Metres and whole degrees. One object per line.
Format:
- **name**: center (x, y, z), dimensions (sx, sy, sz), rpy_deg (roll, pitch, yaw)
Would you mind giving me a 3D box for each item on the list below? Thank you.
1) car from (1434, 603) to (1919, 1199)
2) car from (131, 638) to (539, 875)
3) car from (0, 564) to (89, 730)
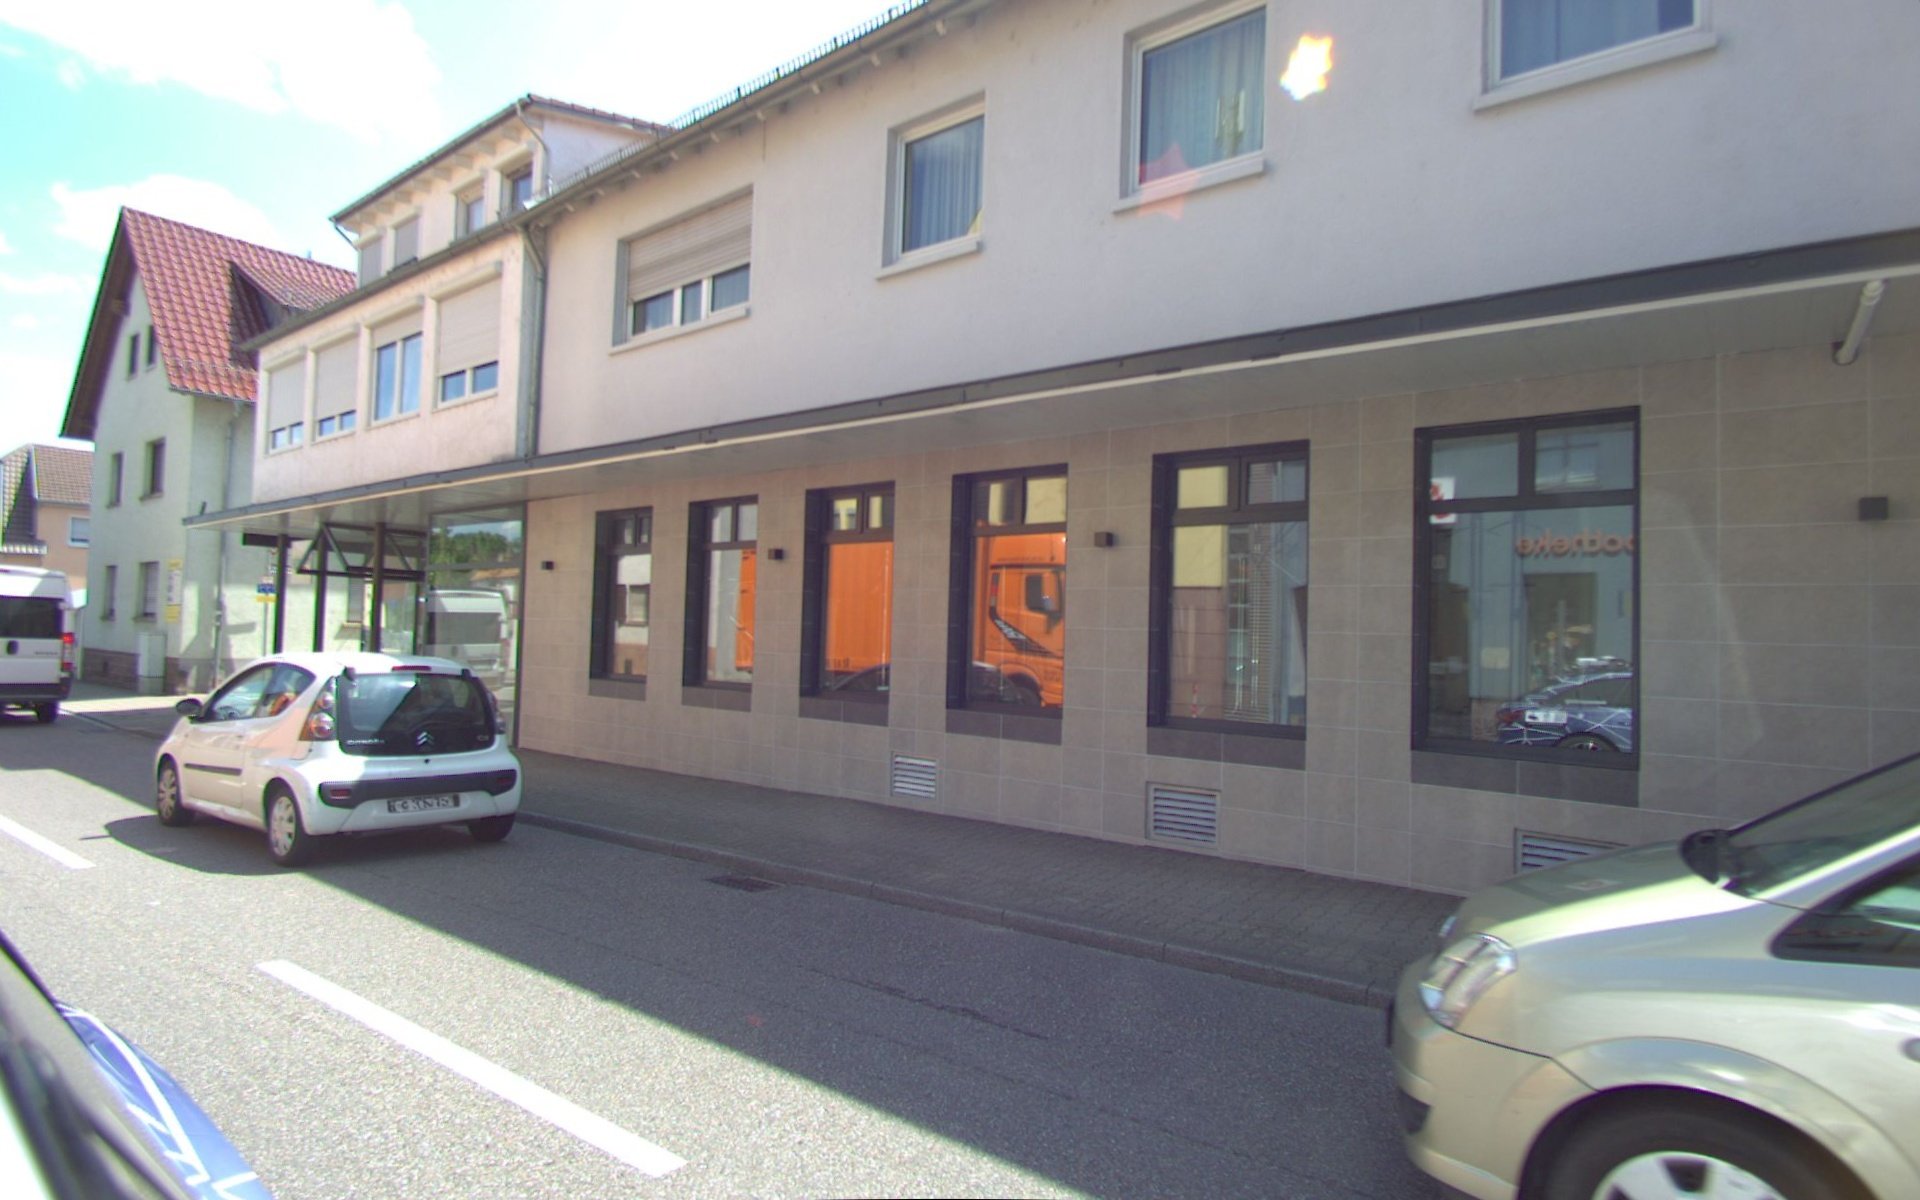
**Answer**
- **car**: center (3.122, 0.854, 1.870), dimensions (3.813, 1.629, 1.664), rpy_deg (-2, -6, 36)
- **car**: center (-5.096, 1.098, 8.133), dimensions (3.441, 1.466, 1.582), rpy_deg (-1, -5, 37)
- **car**: center (-17.225, 0.766, 17.350), dimensions (5.382, 2.588, 2.121), rpy_deg (-1, -5, 36)
